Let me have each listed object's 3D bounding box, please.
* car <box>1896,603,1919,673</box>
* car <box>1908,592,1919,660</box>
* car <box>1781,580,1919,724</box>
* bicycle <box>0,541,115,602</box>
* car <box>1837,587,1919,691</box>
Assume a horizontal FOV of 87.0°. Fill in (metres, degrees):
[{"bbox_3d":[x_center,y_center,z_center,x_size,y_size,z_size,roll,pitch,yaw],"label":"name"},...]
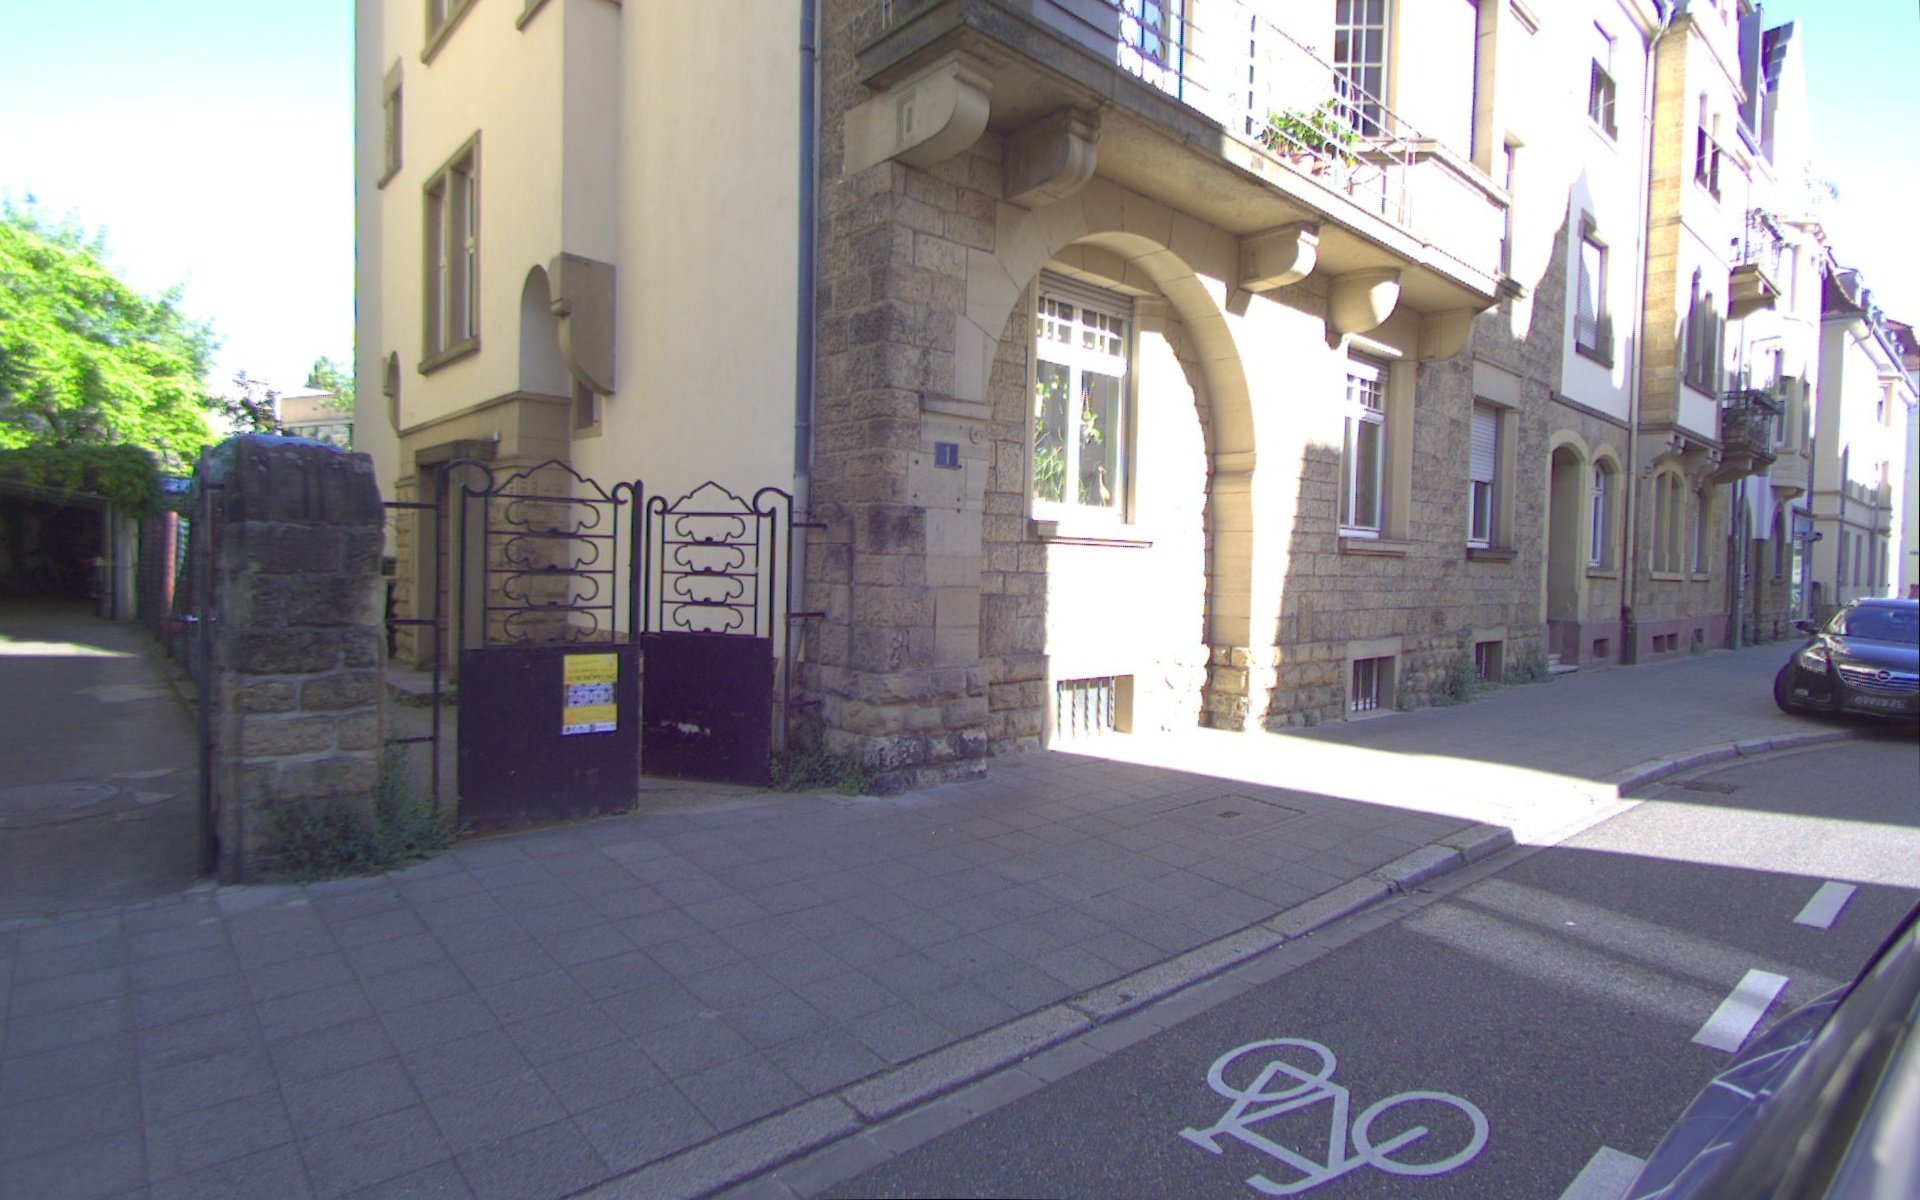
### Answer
[{"bbox_3d":[19.377,0.720,19.566,3.876,1.270,1.694,0,1,-45],"label":"car"},{"bbox_3d":[22.506,0.578,22.626,1.787,1.447,3.746,3,2,44],"label":"car"},{"bbox_3d":[11.635,0.553,12.348,4.265,1.480,1.869,0,3,-42],"label":"car"},{"bbox_3d":[-18.363,-0.602,20.455,2.834,1.124,0.865,3,2,25],"label":"bicycle"},{"bbox_3d":[15.366,0.568,16.098,4.186,1.460,1.654,0,3,-43],"label":"car"}]
